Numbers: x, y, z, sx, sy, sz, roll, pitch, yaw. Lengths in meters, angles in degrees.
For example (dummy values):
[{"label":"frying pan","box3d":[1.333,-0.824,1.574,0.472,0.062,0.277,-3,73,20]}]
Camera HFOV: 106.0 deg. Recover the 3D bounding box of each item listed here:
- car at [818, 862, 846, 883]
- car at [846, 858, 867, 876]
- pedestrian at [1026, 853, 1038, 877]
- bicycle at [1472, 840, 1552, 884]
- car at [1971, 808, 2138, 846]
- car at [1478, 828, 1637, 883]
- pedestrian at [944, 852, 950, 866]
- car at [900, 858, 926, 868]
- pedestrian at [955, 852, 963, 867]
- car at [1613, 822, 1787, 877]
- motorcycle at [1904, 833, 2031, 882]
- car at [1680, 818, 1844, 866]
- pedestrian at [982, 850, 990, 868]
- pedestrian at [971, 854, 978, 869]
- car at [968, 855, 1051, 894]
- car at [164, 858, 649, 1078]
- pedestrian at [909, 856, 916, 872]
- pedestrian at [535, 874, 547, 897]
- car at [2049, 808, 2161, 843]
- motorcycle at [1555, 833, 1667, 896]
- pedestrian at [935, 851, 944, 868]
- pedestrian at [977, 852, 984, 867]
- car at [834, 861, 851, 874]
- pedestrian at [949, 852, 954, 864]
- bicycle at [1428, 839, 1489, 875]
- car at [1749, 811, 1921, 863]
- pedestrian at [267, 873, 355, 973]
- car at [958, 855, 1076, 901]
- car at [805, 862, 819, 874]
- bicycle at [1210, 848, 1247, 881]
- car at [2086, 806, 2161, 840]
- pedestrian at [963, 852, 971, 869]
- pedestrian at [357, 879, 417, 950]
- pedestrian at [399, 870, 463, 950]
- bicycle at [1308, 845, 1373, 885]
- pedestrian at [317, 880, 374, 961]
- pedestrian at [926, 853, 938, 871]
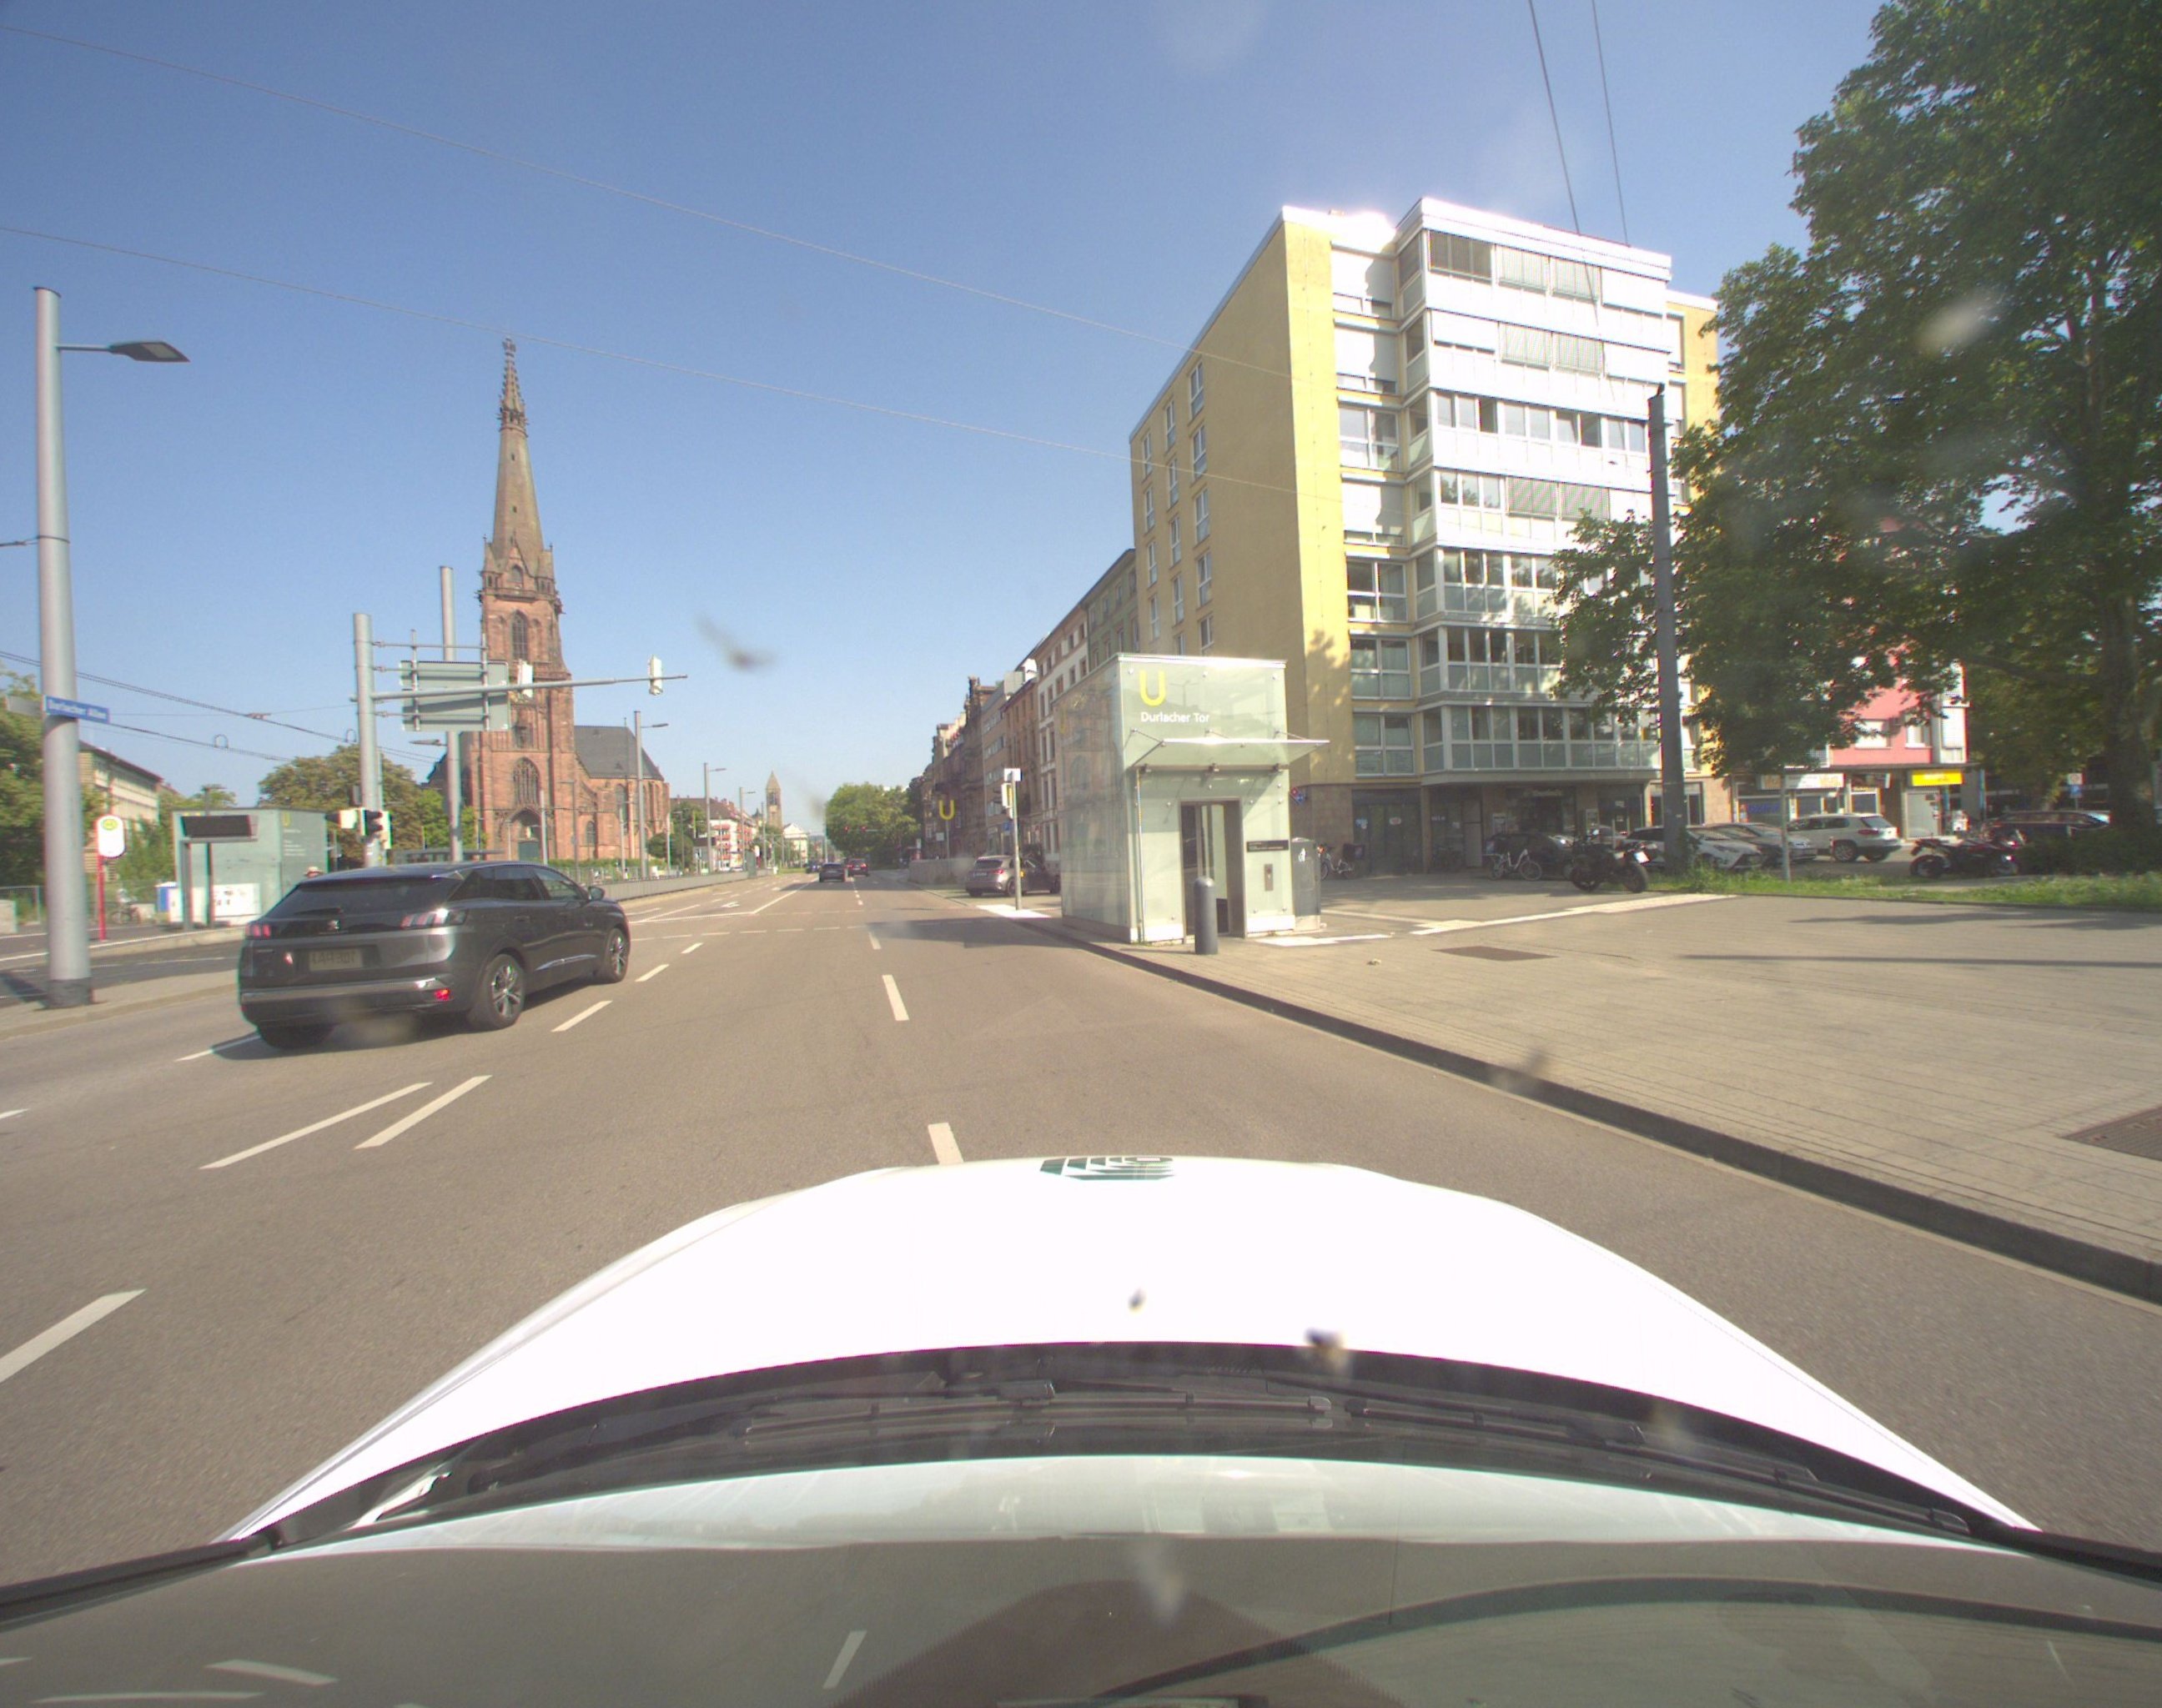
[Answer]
[{"label":"car","box3d":[-18.369,1.334,60.141,1.868,1.424,4.333,-1,0,-16]},{"label":"car","box3d":[-21.484,1.230,77.905,1.835,1.621,4.333,-1,0,-16]},{"label":"pedestrian","box3d":[-3.381,0.740,56.390,0.610,1.629,0.733,-3,0,-16]},{"label":"bicycle","box3d":[12.758,0.228,24.185,0.524,1.235,2.285,-3,0,-20]},{"label":"car","box3d":[40.332,-1.096,33.867,1.999,1.376,3.977,-3,0,-17]},{"label":"car","box3d":[14.255,0.050,24.646,1.660,1.441,4.172,-3,0,-15]},{"label":"pedestrian","box3d":[-17.404,0.596,105.709,0.618,1.804,1.066,-2,0,-15]},{"label":"car","box3d":[-30.089,1.597,145.579,4.196,1.563,1.986,-3,0,-21]},{"label":"pedestrian","box3d":[-13.532,0.580,90.493,0.721,1.610,0.851,-2,0,-15]},{"label":"car","box3d":[19.390,-0.132,25.749,1.997,1.507,3.979,-3,0,-15]},{"label":"motorcycle","box3d":[19.917,0.067,18.361,0.701,1.001,1.956,-3,0,0]},{"label":"car","box3d":[23.777,-0.385,28.622,1.997,1.507,3.979,-3,0,-15]},{"label":"pedestrian","box3d":[-9.962,0.499,85.683,0.605,1.831,0.737,-2,0,-20]},{"label":"pedestrian","box3d":[-12.394,0.851,94.909,0.605,1.654,0.583,-3,0,-20]},{"label":"car","box3d":[-2.937,0.821,34.044,1.602,1.464,3.551,-2,0,32]},{"label":"car","box3d":[-6.535,0.907,8.727,1.993,1.621,4.343,-3,0,-9]},{"label":"pedestrian","box3d":[-19.024,1.124,92.047,0.567,1.729,0.740,-2,0,-20]},{"label":"pedestrian","box3d":[-41.583,2.433,62.700,0.518,1.700,0.661,-2,0,-17]},{"label":"car","box3d":[44.472,-1.216,34.579,1.741,1.376,3.977,-3,0,-17]},{"label":"motorcycle","box3d":[10.583,0.198,16.383,0.701,1.147,2.301,-3,0,0]},{"label":"pedestrian","box3d":[-15.102,0.580,86.887,0.752,1.729,0.795,-3,0,-20]},{"label":"pedestrian","box3d":[-11.455,0.588,92.457,0.605,1.691,0.583,-3,0,-20]},{"label":"car","box3d":[-28.964,1.647,98.944,1.868,1.424,4.333,-1,0,-16]},{"label":"pedestrian","box3d":[-16.794,0.545,105.768,0.487,1.610,0.808,-2,0,-15]},{"label":"bicycle","box3d":[13.474,0.092,29.089,2.021,1.183,0.667,-3,0,-17]},{"label":"car","box3d":[26.297,-0.552,28.589,1.997,1.644,3.979,-3,0,-15]},{"label":"pedestrian","box3d":[-14.690,1.295,15.562,0.832,1.788,0.727,-5,1,-9]},{"label":"car","box3d":[-2.232,0.828,29.580,1.824,1.423,4.438,-2,0,35]},{"label":"car","box3d":[-37.670,1.994,114.208,1.745,1.526,3.850,-3,0,-17]},{"label":"bicycle","box3d":[5.836,0.412,32.352,0.604,1.261,1.838,-3,0,-17]},{"label":"car","box3d":[46.589,-1.391,34.969,1.741,1.376,3.977,-3,0,-17]},{"label":"pedestrian","box3d":[-12.736,0.724,90.615,0.721,1.787,0.851,-2,0,-15]},{"label":"pedestrian","box3d":[-16.250,1.405,19.087,0.809,1.547,0.545,-5,1,-15]},{"label":"pedestrian","box3d":[-14.653,1.237,18.383,0.816,1.692,0.648,-5,1,-16]},{"label":"bicycle","box3d":[8.731,0.362,27.434,2.021,1.206,0.667,-3,0,-17]},{"label":"pedestrian","box3d":[-15.327,1.365,16.985,0.634,1.597,0.465,-5,1,-18]},{"label":"pedestrian","box3d":[-15.293,0.799,83.576,0.928,1.831,0.795,-3,0,-20]}]
